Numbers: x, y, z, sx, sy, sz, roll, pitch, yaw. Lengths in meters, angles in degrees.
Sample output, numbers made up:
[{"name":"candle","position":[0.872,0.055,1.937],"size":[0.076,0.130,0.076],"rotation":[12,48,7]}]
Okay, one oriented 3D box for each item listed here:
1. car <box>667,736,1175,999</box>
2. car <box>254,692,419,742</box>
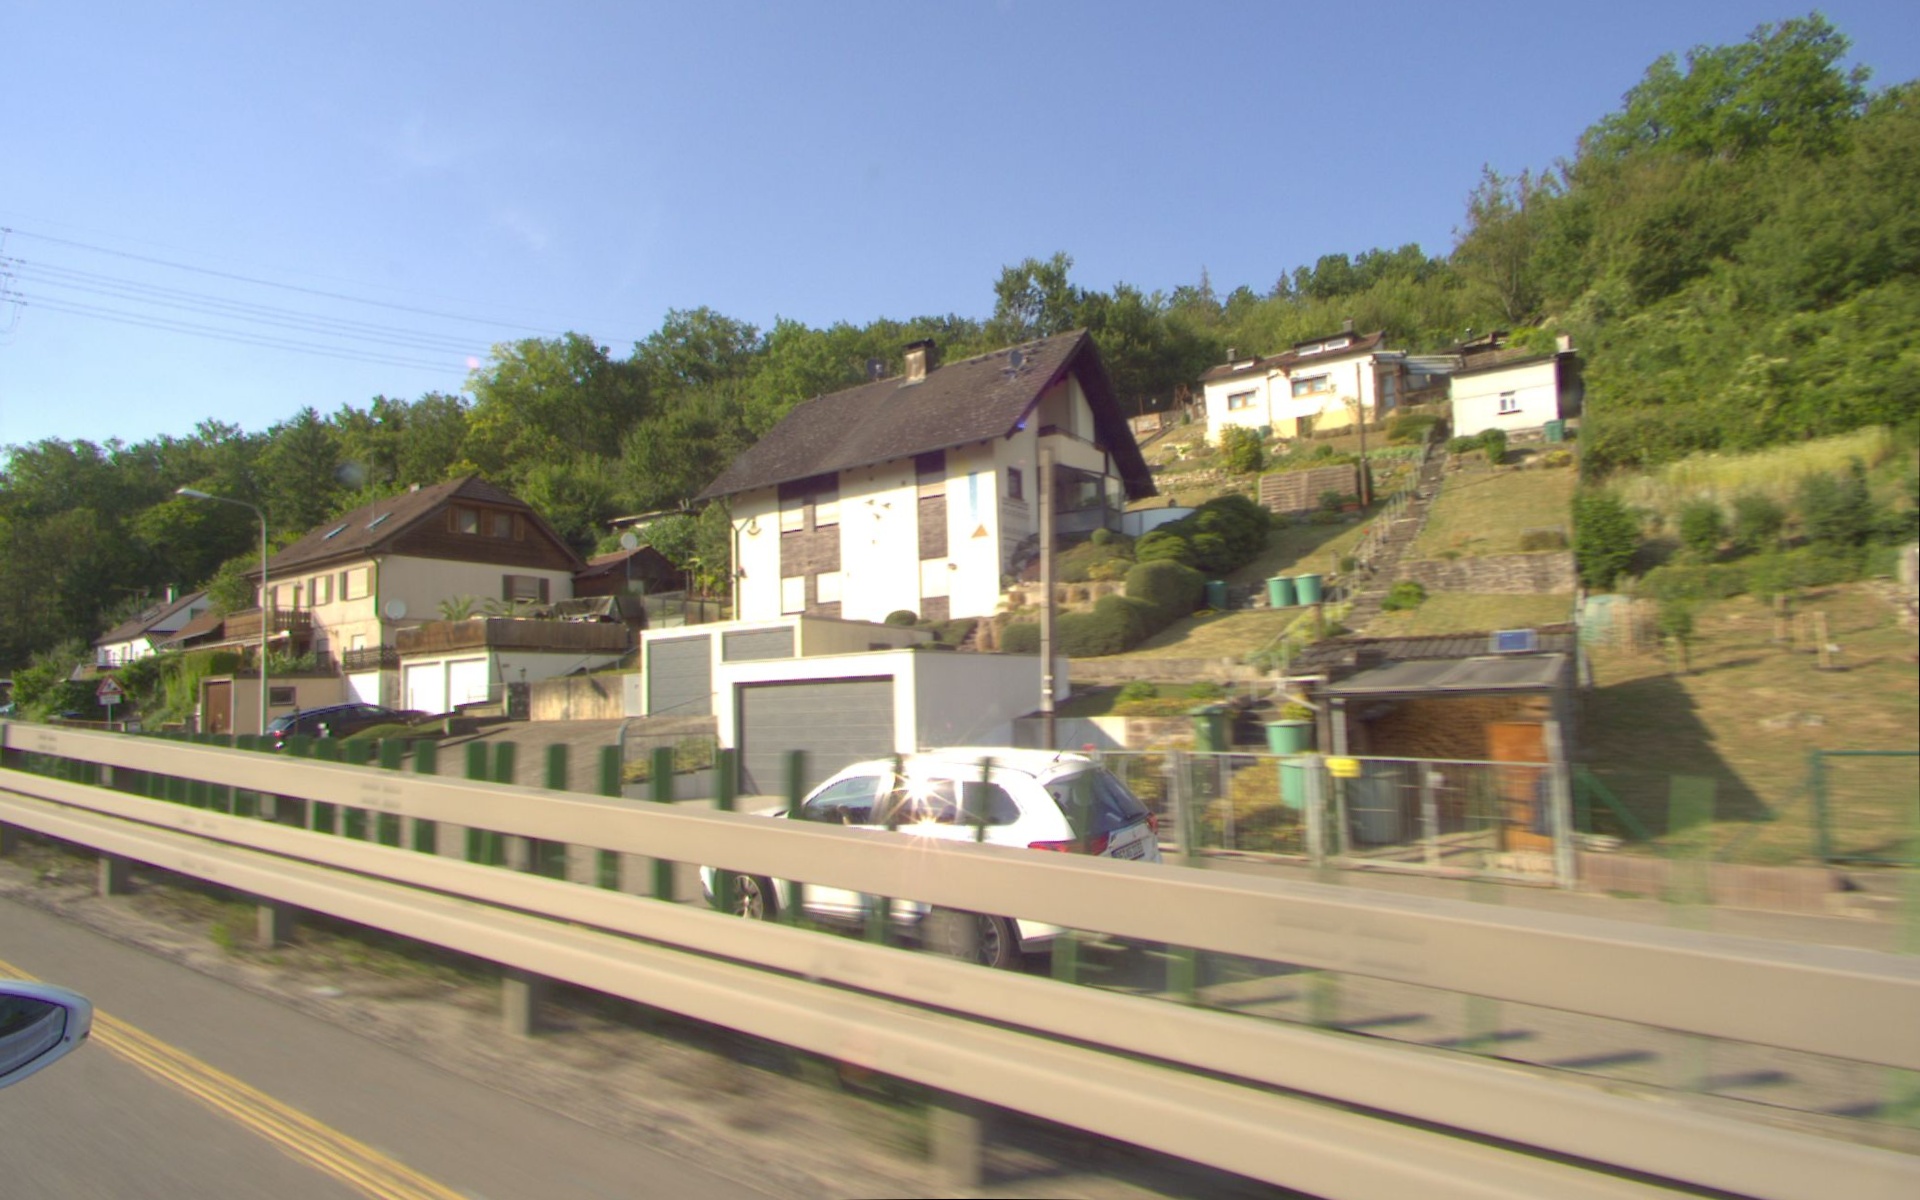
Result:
[{"name":"car","position":[-0.521,2.203,9.243],"size":[4.587,1.678,1.694],"rotation":[-4,-5,34]},{"name":"car","position":[-19.602,3.691,31.644],"size":[1.865,1.458,3.985],"rotation":[-4,-7,31]}]
